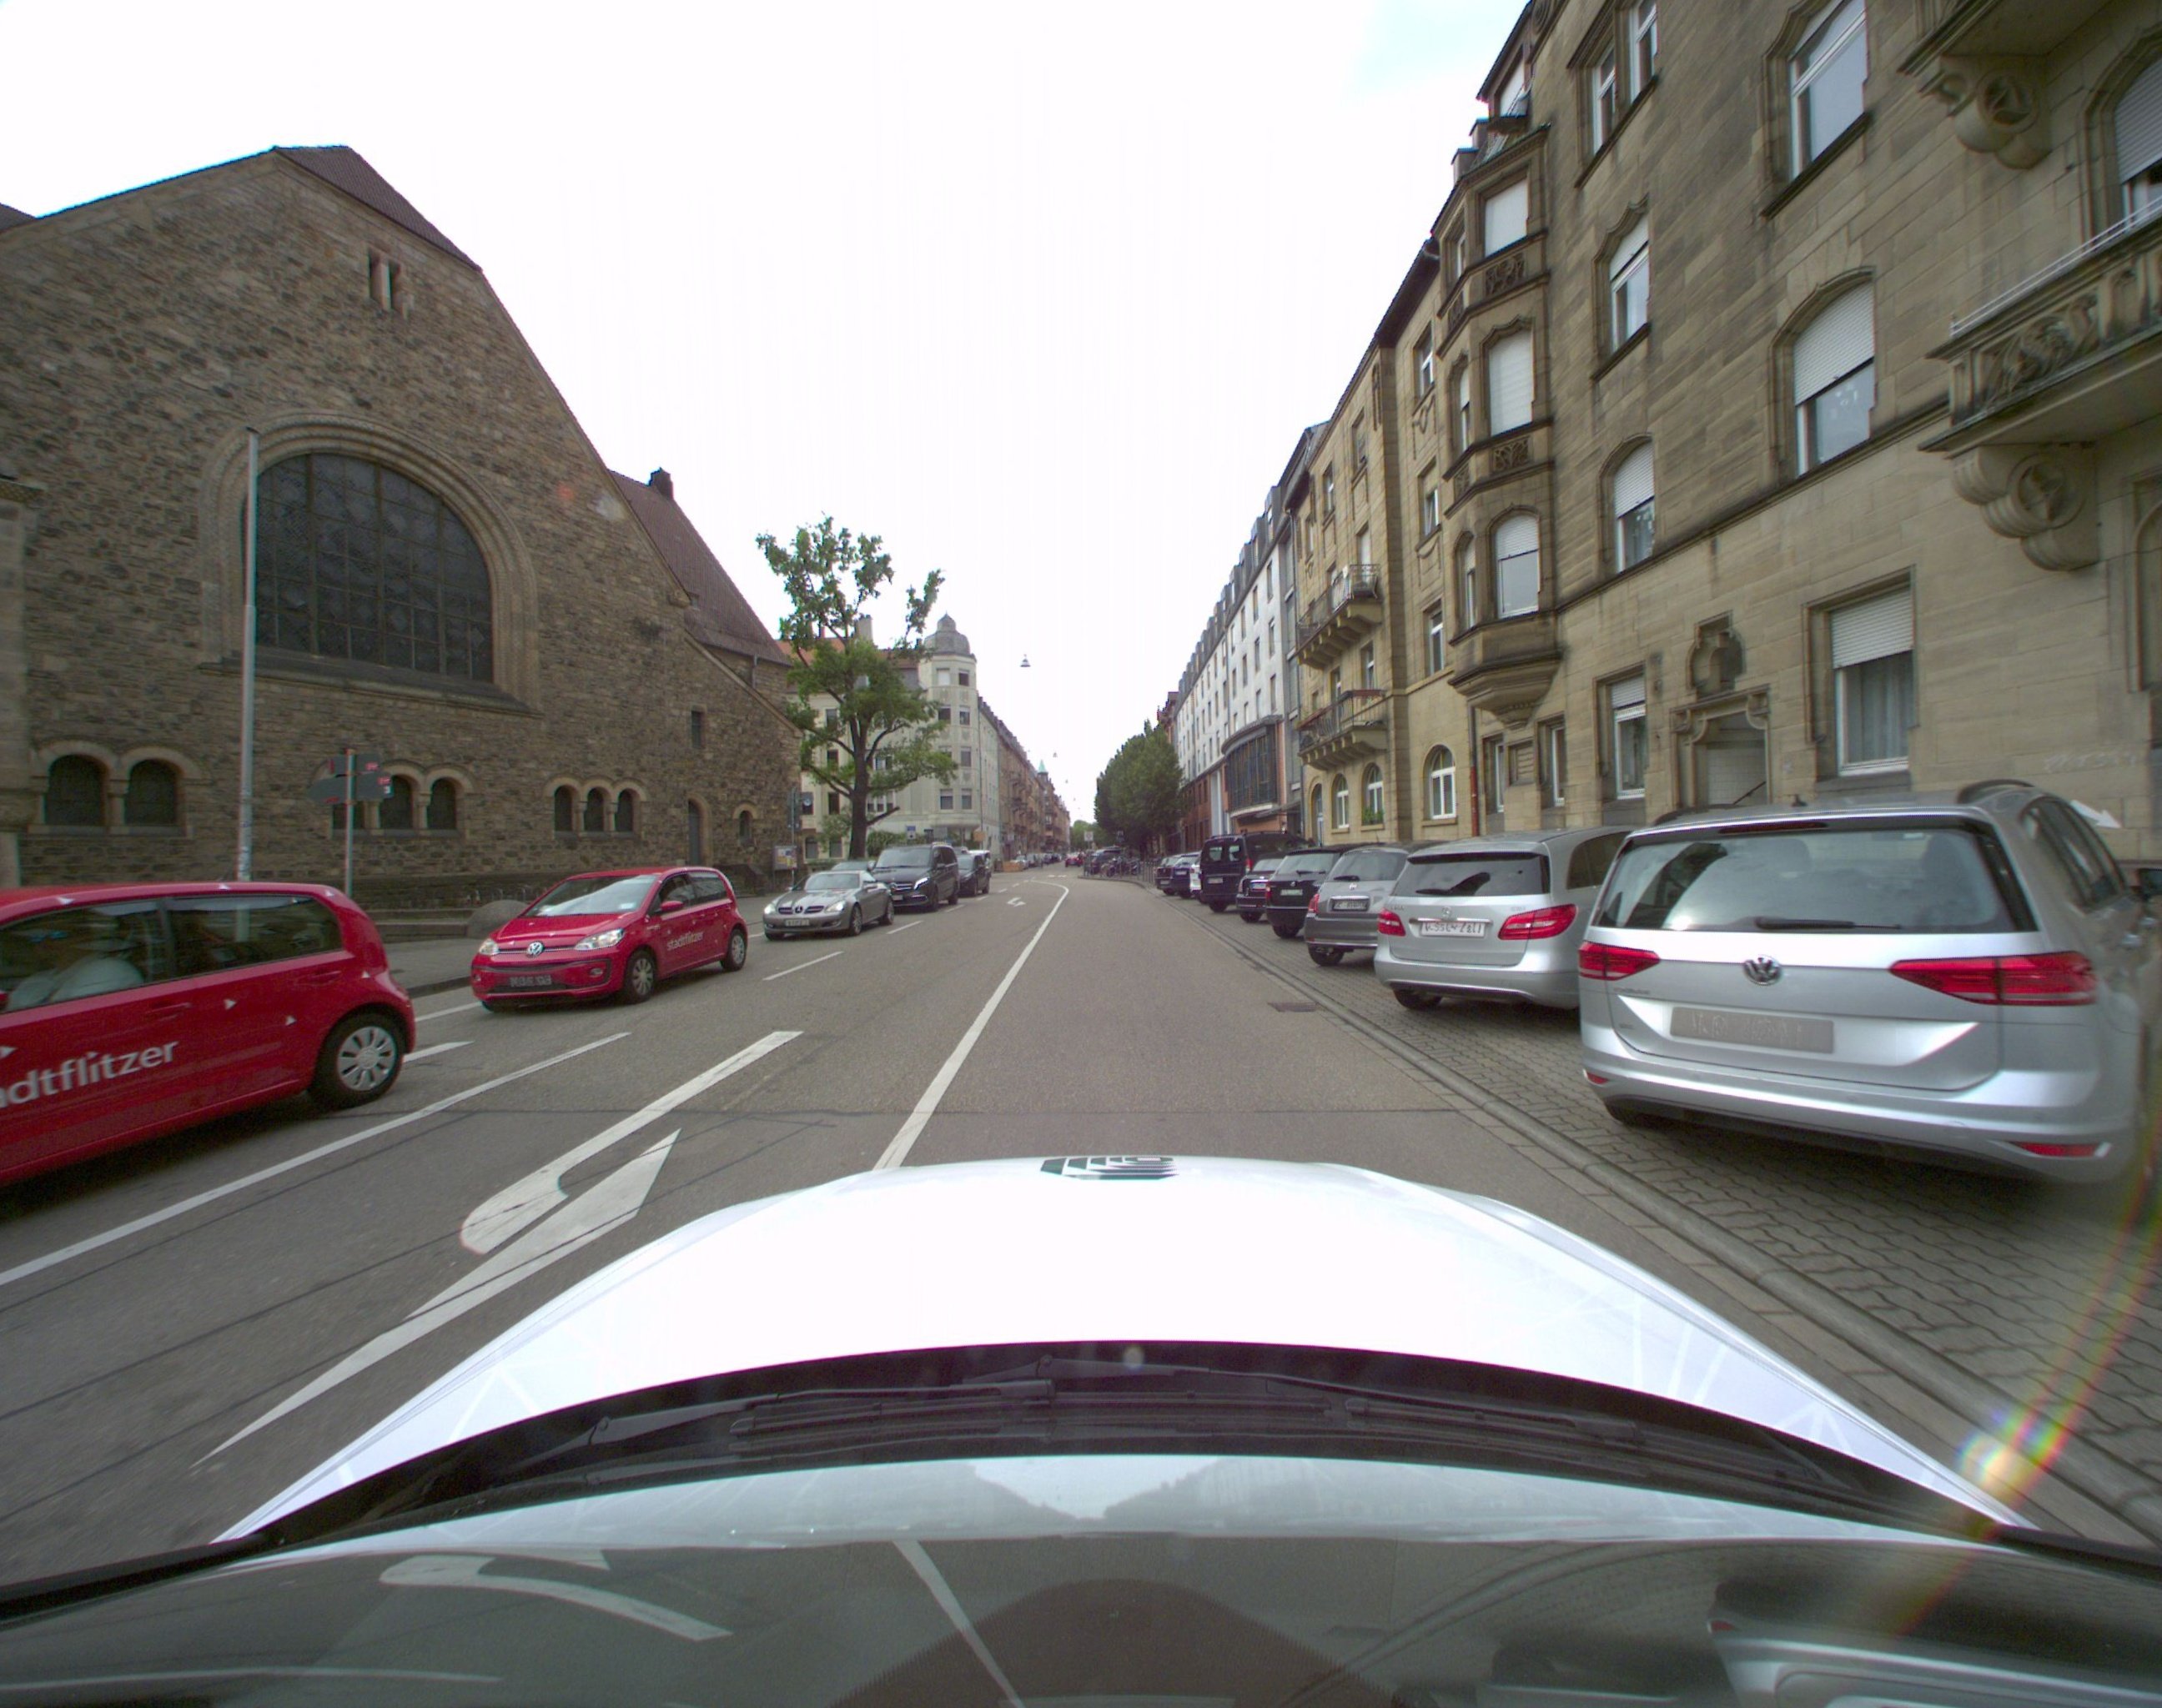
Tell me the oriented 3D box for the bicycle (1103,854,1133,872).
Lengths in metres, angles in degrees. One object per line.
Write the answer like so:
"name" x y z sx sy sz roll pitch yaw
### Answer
"bicycle" 2.478 0.609 54.266 1.879 1.141 0.611 -3 -1 -3

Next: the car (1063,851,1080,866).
"car" -1.113 0.540 98.647 1.987 1.681 3.999 -1 -1 0

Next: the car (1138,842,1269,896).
"car" 4.326 0.483 28.728 4.267 1.478 1.671 -5 1 -24

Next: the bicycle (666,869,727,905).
"bicycle" -13.113 1.126 27.769 1.765 1.152 0.744 -1 0 13

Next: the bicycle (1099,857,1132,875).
"bicycle" 2.129 0.740 50.441 1.924 1.043 0.611 -3 -1 -3

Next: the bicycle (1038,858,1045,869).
"bicycle" -4.128 1.005 85.137 0.565 1.087 1.988 -1 0 2

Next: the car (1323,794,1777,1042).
"car" 4.703 0.388 7.872 4.773 1.685 1.915 -4 -1 -36

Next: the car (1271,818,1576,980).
"car" 4.711 0.447 10.888 4.488 1.573 1.727 -5 1 -38

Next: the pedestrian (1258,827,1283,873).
"pedestrian" 7.392 -0.151 31.850 0.628 1.753 0.811 -5 0 -3

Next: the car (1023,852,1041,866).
"car" -5.991 0.620 100.440 1.937 1.617 3.943 -1 0 1

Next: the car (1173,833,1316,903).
"car" 4.703 0.361 23.116 4.021 1.601 1.745 -6 2 -39

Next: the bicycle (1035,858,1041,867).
"bicycle" -4.748 0.942 89.965 0.533 0.977 1.865 -1 -1 0

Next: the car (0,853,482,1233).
"car" -5.293 0.838 4.002 1.643 1.528 3.895 -4 1 1

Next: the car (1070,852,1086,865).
"car" -0.408 0.591 111.612 1.987 1.681 3.999 -1 -1 0

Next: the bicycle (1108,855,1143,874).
"bicycle" 2.714 0.651 49.656 2.004 1.062 0.611 -3 -1 -3

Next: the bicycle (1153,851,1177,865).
"bicycle" 6.871 0.310 66.835 1.926 1.092 0.577 -1 -1 0

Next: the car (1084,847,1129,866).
"car" 3.147 0.287 100.145 5.425 1.992 1.930 -2 -1 -34

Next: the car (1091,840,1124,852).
"car" 4.559 -1.333 140.468 5.419 1.868 1.932 -2 -1 -29

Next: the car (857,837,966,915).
"car" -4.737 0.547 23.622 1.905 1.954 5.285 -1 0 1

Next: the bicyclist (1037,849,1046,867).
"bicyclist" -4.116 0.389 85.408 0.779 1.866 0.715 -1 0 2

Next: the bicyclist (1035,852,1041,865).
"bicyclist" -4.752 0.522 89.946 0.666 1.399 0.783 -1 -1 -2

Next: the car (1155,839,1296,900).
"car" 4.601 0.447 25.827 4.011 1.533 1.914 -5 1 -29

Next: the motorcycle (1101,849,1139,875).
"motorcycle" 2.324 0.456 48.555 2.129 1.429 0.770 -3 -1 -3

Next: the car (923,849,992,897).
"car" -4.688 0.672 31.515 1.838 1.684 4.549 -1 0 1

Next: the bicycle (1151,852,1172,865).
"bicycle" 6.984 0.379 70.457 1.747 1.092 0.565 -1 -1 0

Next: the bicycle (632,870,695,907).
"bicycle" -13.833 1.147 26.965 1.765 1.166 0.744 -1 0 13

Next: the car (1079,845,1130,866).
"car" 2.648 0.126 91.962 5.647 2.127 1.930 -2 -1 -34

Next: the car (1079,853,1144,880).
"car" 2.217 0.879 58.375 4.304 1.578 1.844 -4 0 -33

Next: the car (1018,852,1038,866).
"car" -6.139 0.610 94.967 1.937 1.617 3.943 -1 0 1

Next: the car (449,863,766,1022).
"car" -5.396 0.896 9.910 1.597 1.457 3.717 -4 -1 0

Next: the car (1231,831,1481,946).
"car" 4.788 0.493 13.867 4.487 1.552 1.831 -3 0 -38

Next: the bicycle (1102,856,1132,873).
"bicycle" 2.289 0.673 52.083 1.879 1.043 0.611 -3 -1 -3

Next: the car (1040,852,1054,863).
"car" -5.350 0.580 128.529 1.937 1.742 3.943 -1 0 1

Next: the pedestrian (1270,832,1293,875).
"pedestrian" 7.247 -0.019 29.460 0.565 1.529 0.547 0 -2 -42

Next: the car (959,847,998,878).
"car" -6.889 0.535 55.230 1.836 1.939 4.551 -1 0 3

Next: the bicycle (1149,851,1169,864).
"bicycle" 7.086 0.316 73.917 1.747 1.092 0.565 -1 -1 0

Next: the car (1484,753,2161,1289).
"car" 4.388 0.459 4.528 4.241 1.682 1.896 -3 -1 -34

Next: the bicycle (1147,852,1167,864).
"bicycle" 7.021 0.349 75.473 1.747 1.092 0.565 -1 -1 0

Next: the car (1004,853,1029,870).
"car" -6.585 0.754 83.427 1.936 1.553 3.821 -3 0 3

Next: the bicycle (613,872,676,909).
"bicycle" -14.033 1.180 26.179 1.765 1.130 0.663 -1 0 13

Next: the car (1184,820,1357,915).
"car" 4.725 0.263 19.982 4.306 1.906 1.857 -5 2 -41

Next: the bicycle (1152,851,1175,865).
"bicycle" 6.959 0.353 68.903 1.830 1.092 0.565 -1 -1 0

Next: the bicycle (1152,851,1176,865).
"bicycle" 6.875 0.330 67.441 1.889 1.092 0.543 -1 -1 0

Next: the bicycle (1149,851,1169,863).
"bicycle" 7.167 0.303 74.732 1.747 1.092 0.565 -1 -1 0

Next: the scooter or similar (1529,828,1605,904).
"scooter or similar" 8.140 0.209 13.688 0.432 1.187 1.219 -7 -2 2

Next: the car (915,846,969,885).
"car" -7.691 0.577 45.528 2.006 2.014 5.183 -1 0 0

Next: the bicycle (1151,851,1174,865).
"bicycle" 6.831 0.342 68.250 1.830 1.092 0.543 -1 -1 0

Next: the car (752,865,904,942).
"car" -5.066 0.936 16.916 1.698 1.286 4.044 -4 -1 2

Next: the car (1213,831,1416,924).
"car" 4.975 0.453 17.132 4.092 1.453 2.008 -6 1 -38
